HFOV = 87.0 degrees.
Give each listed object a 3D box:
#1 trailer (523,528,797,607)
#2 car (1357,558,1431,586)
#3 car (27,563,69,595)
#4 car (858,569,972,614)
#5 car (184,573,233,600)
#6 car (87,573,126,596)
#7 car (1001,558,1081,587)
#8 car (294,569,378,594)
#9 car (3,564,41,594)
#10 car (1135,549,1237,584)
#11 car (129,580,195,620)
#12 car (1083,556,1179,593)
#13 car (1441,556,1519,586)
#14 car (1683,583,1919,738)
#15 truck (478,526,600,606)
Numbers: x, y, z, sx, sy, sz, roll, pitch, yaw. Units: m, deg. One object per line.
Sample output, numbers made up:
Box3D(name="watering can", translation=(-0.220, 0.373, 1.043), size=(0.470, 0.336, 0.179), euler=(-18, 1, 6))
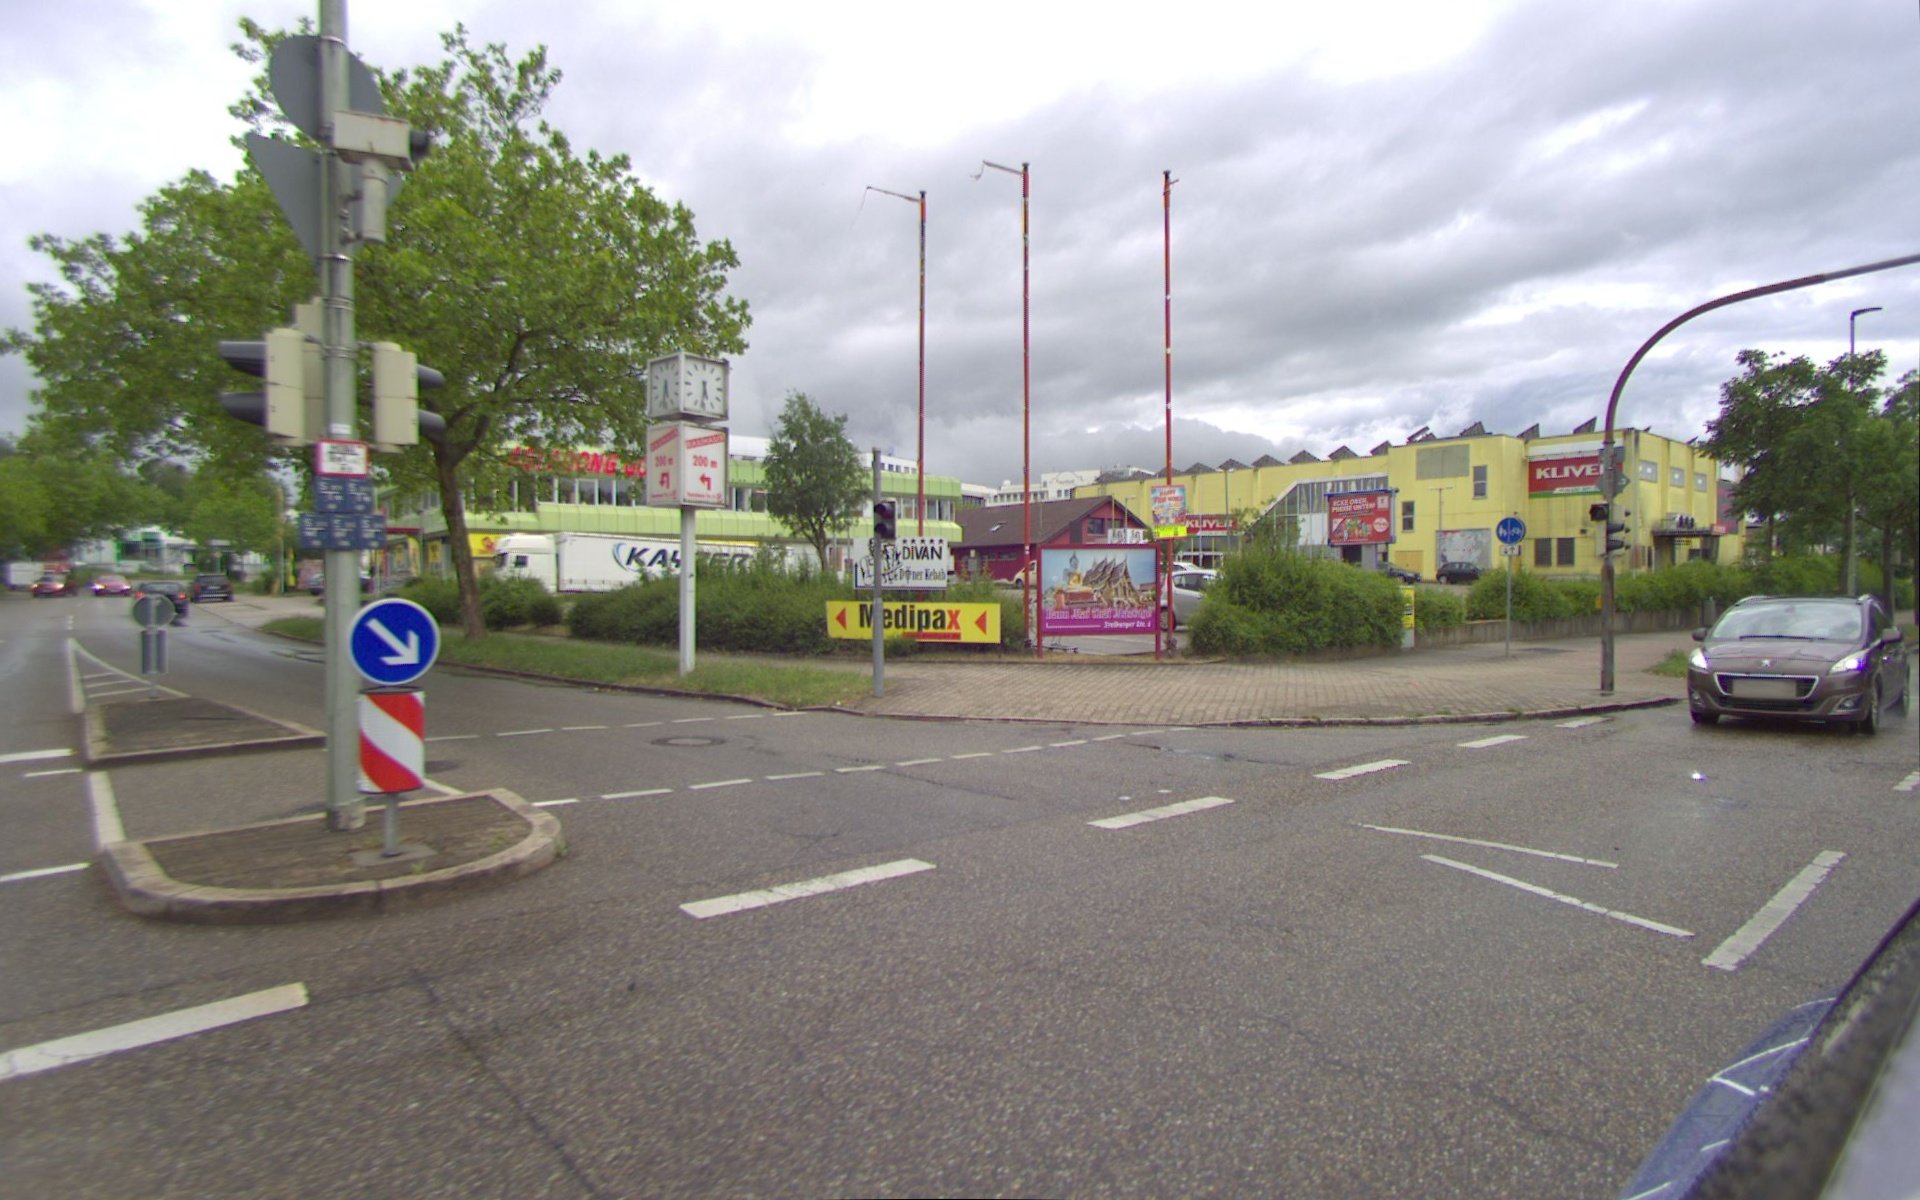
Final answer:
Box3D(name="trailer", translation=(-16.143, -1.572, 56.052), size=(14.547, 3.764, 3.157), euler=(1, -2, -40))
Box3D(name="car", translation=(28.313, -1.797, 66.120), size=(1.965, 1.801, 3.993), euler=(0, 1, -41))
Box3D(name="car", translation=(-60.241, -1.398, 66.870), size=(1.965, 2.039, 3.994), euler=(0, 1, -41))
Box3D(name="car", translation=(-1.601, -0.305, 34.703), size=(1.963, 1.460, 3.998), euler=(0, 1, -37))
Box3D(name="car", translation=(-43.151, -0.764, 58.084), size=(1.965, 1.460, 3.993), euler=(0, 1, -41))
Box3D(name="car", translation=(-58.465, -1.057, 69.292), size=(1.965, 1.549, 3.993), euler=(0, 1, -41))
Box3D(name="car", translation=(5.191, -1.744, 65.667), size=(2.340, 1.801, 4.976), euler=(0, 1, -41))
Box3D(name="car", translation=(-38.360, -1.123, 62.278), size=(1.981, 1.460, 3.962), euler=(0, 1, 27))
Box3D(name="car", translation=(-70.276, -1.577, 75.868), size=(1.965, 2.217, 3.994), euler=(0, 1, -41))
Box3D(name="car", translation=(12.086, -1.758, 54.370), size=(2.340, 1.801, 4.976), euler=(0, 1, -41))
Box3D(name="car", translation=(-33.027, -0.029, 41.833), size=(1.965, 1.549, 3.993), euler=(0, 1, -41))
Box3D(name="car", translation=(8.503, -1.247, 50.695), size=(1.965, 1.801, 4.573), euler=(0, 1, -41))
Box3D(name="car", translation=(33.116, -1.820, 64.464), size=(1.965, 1.801, 3.993), euler=(0, 1, -41))
Box3D(name="car", translation=(10.938, 0.654, 12.884), size=(4.392, 1.645, 1.729), euler=(-1, -2, -40))
Box3D(name="truck", translation=(-21.452, -1.623, 51.605), size=(5.044, 3.764, 3.157), euler=(1, -2, -40))
